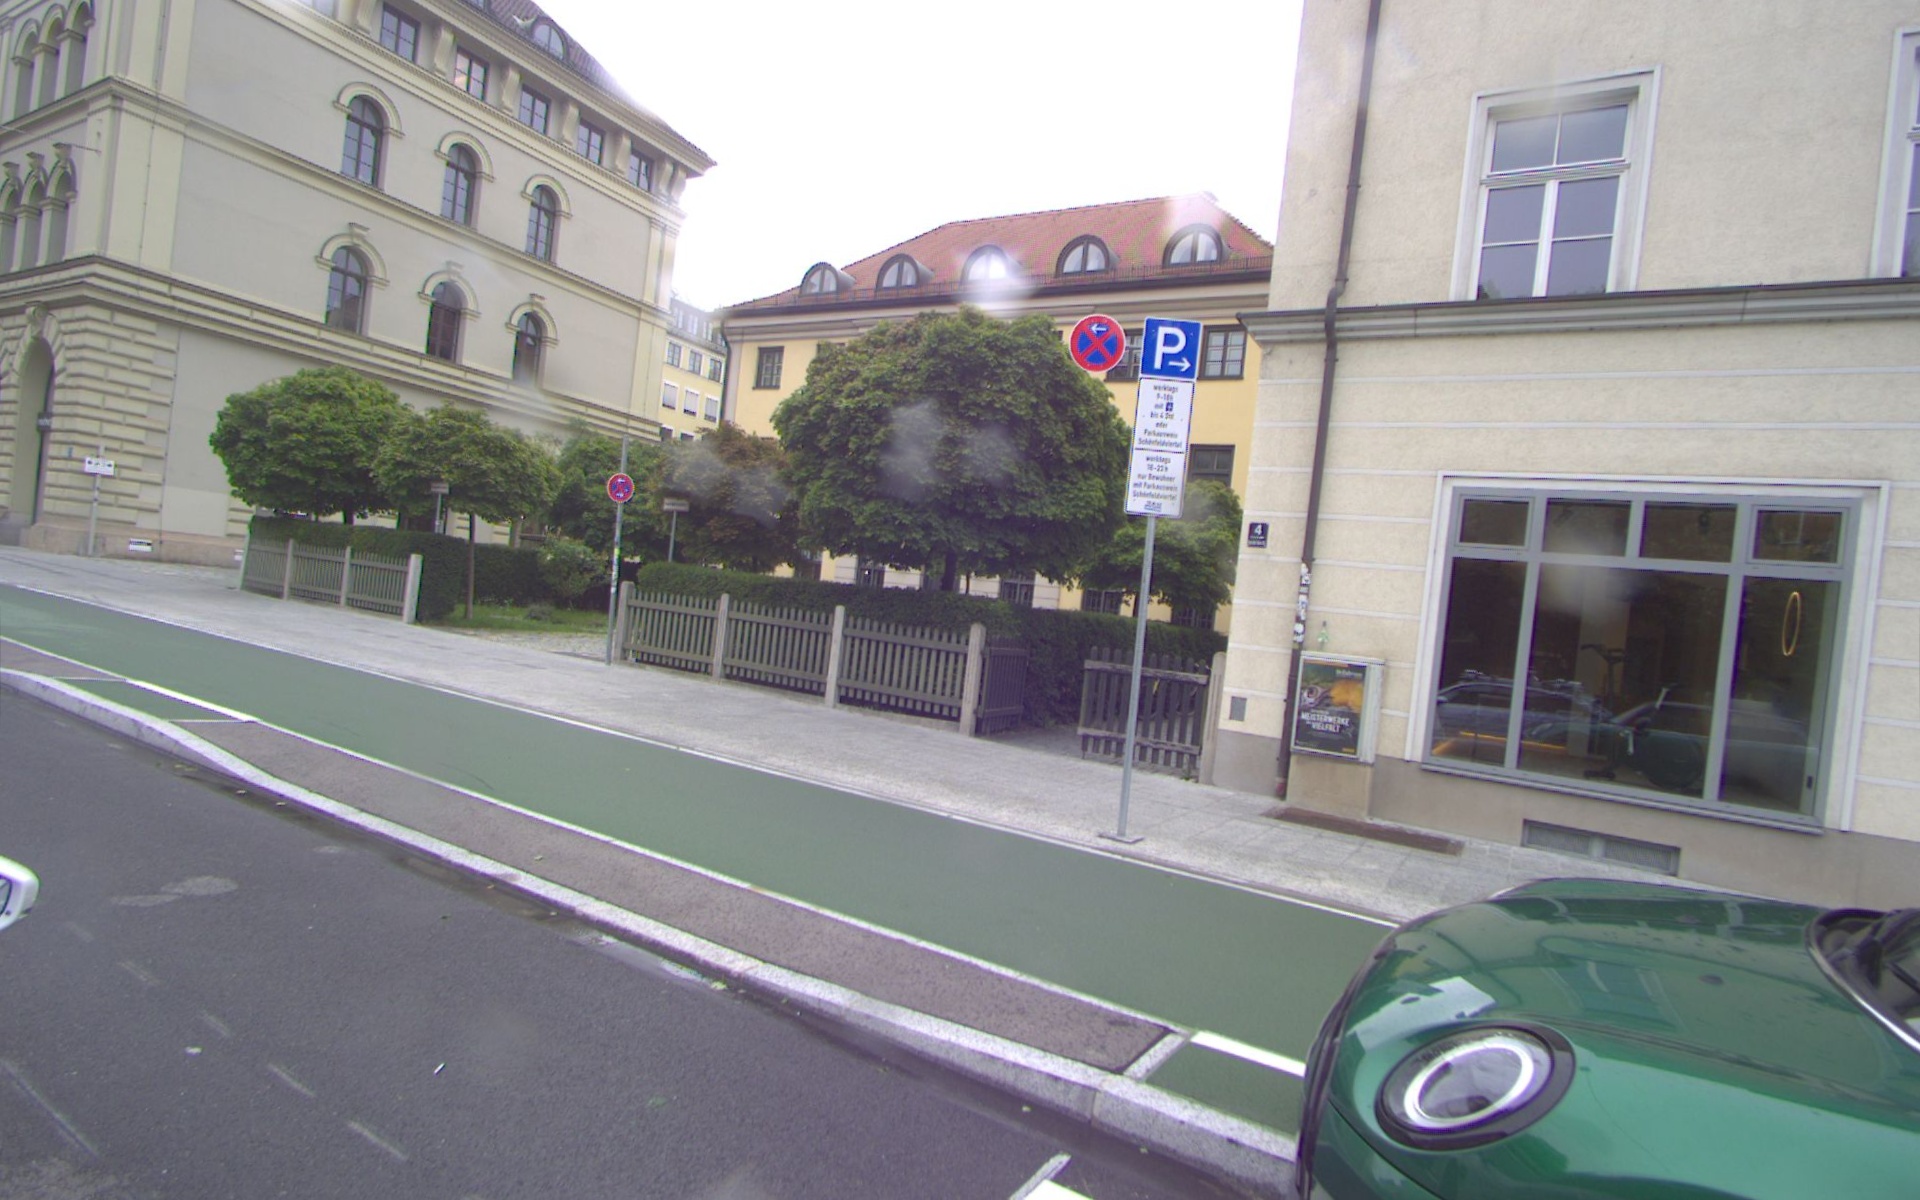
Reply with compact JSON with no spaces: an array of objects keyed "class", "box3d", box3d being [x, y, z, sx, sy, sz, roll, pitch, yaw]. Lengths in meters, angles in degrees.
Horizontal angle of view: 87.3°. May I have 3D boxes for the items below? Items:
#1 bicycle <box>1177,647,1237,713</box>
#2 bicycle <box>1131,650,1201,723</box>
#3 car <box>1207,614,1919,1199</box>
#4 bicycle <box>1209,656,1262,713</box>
[{"class":"bicycle","box3d":[4.674,1.516,18.976,0.512,1.124,1.830,7,0,30]},{"class":"bicycle","box3d":[3.540,1.471,17.138,0.512,1.130,1.830,7,0,30]},{"class":"car","box3d":[2.507,1.055,1.554,3.767,1.538,1.678,7,-1,33]},{"class":"bicycle","box3d":[5.661,1.732,20.613,0.512,1.048,1.830,7,-1,30]}]
